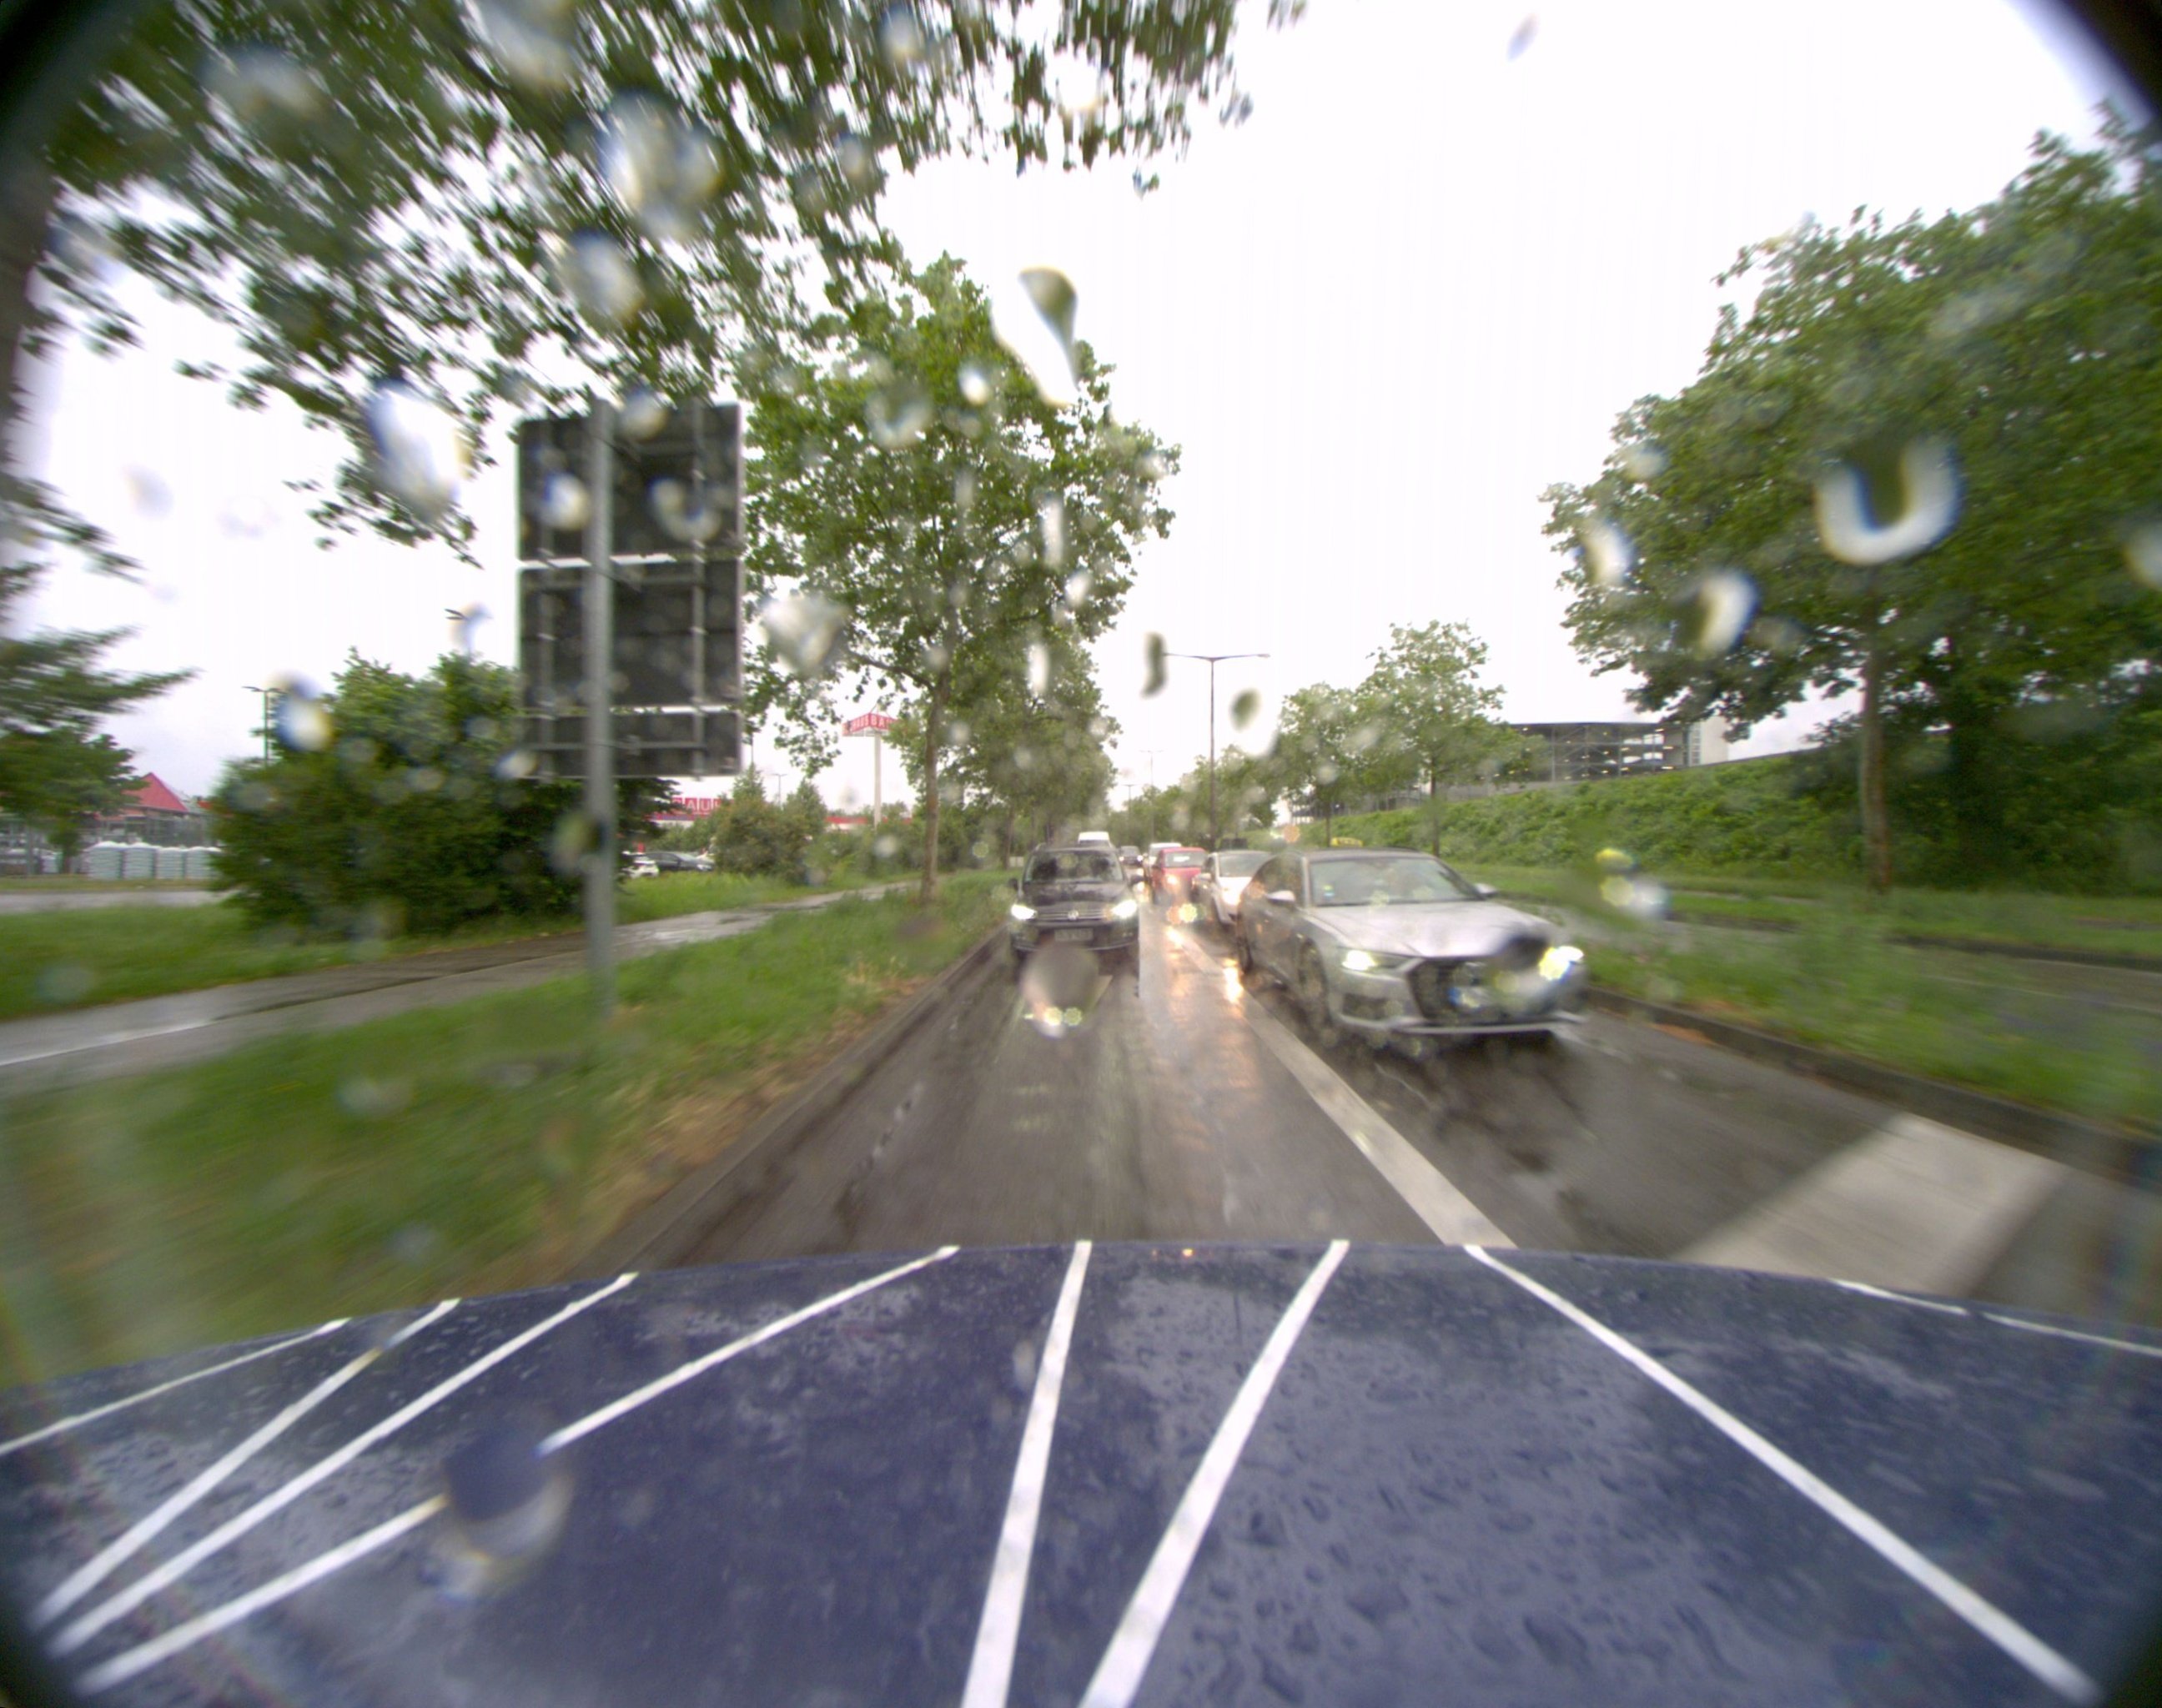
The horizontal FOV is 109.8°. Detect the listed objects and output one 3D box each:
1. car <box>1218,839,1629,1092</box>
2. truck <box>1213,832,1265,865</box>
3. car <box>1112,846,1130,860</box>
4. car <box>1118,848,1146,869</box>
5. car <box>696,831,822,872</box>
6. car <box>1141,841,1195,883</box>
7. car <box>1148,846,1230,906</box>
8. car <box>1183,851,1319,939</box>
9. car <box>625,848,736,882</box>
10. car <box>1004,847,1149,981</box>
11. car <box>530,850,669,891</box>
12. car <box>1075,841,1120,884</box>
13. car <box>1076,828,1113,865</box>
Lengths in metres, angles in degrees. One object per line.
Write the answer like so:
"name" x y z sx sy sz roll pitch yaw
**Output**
"car" 2.636 0.694 7.289 1.774 1.565 4.820 -2 1 1
"truck" 11.799 -0.448 57.161 2.480 2.351 6.866 0 1 0
"car" 4.409 -0.139 84.208 1.715 1.494 3.999 -2 1 -1
"car" 3.887 0.329 58.424 1.715 1.494 3.999 -2 1 -1
"car" -18.861 -0.158 44.827 6.424 2.349 2.390 0 1 -8
"car" 3.645 0.294 32.380 1.831 1.603 4.146 -2 1 1
"car" 2.885 0.529 21.072 1.723 1.456 4.092 -2 1 2
"car" 3.105 0.677 14.669 1.683 1.369 4.010 -2 1 0
"car" -19.240 0.517 36.671 4.271 1.543 1.929 0 1 -4
"car" -0.072 0.733 11.903 1.771 1.596 4.625 -2 1 0
"car" -19.191 0.642 30.421 4.271 1.543 1.929 0 1 -4
"car" 0.709 0.328 34.198 1.831 1.737 4.146 -2 1 1
"car" 0.819 -0.493 45.181 1.998 2.002 5.131 -2 1 2
